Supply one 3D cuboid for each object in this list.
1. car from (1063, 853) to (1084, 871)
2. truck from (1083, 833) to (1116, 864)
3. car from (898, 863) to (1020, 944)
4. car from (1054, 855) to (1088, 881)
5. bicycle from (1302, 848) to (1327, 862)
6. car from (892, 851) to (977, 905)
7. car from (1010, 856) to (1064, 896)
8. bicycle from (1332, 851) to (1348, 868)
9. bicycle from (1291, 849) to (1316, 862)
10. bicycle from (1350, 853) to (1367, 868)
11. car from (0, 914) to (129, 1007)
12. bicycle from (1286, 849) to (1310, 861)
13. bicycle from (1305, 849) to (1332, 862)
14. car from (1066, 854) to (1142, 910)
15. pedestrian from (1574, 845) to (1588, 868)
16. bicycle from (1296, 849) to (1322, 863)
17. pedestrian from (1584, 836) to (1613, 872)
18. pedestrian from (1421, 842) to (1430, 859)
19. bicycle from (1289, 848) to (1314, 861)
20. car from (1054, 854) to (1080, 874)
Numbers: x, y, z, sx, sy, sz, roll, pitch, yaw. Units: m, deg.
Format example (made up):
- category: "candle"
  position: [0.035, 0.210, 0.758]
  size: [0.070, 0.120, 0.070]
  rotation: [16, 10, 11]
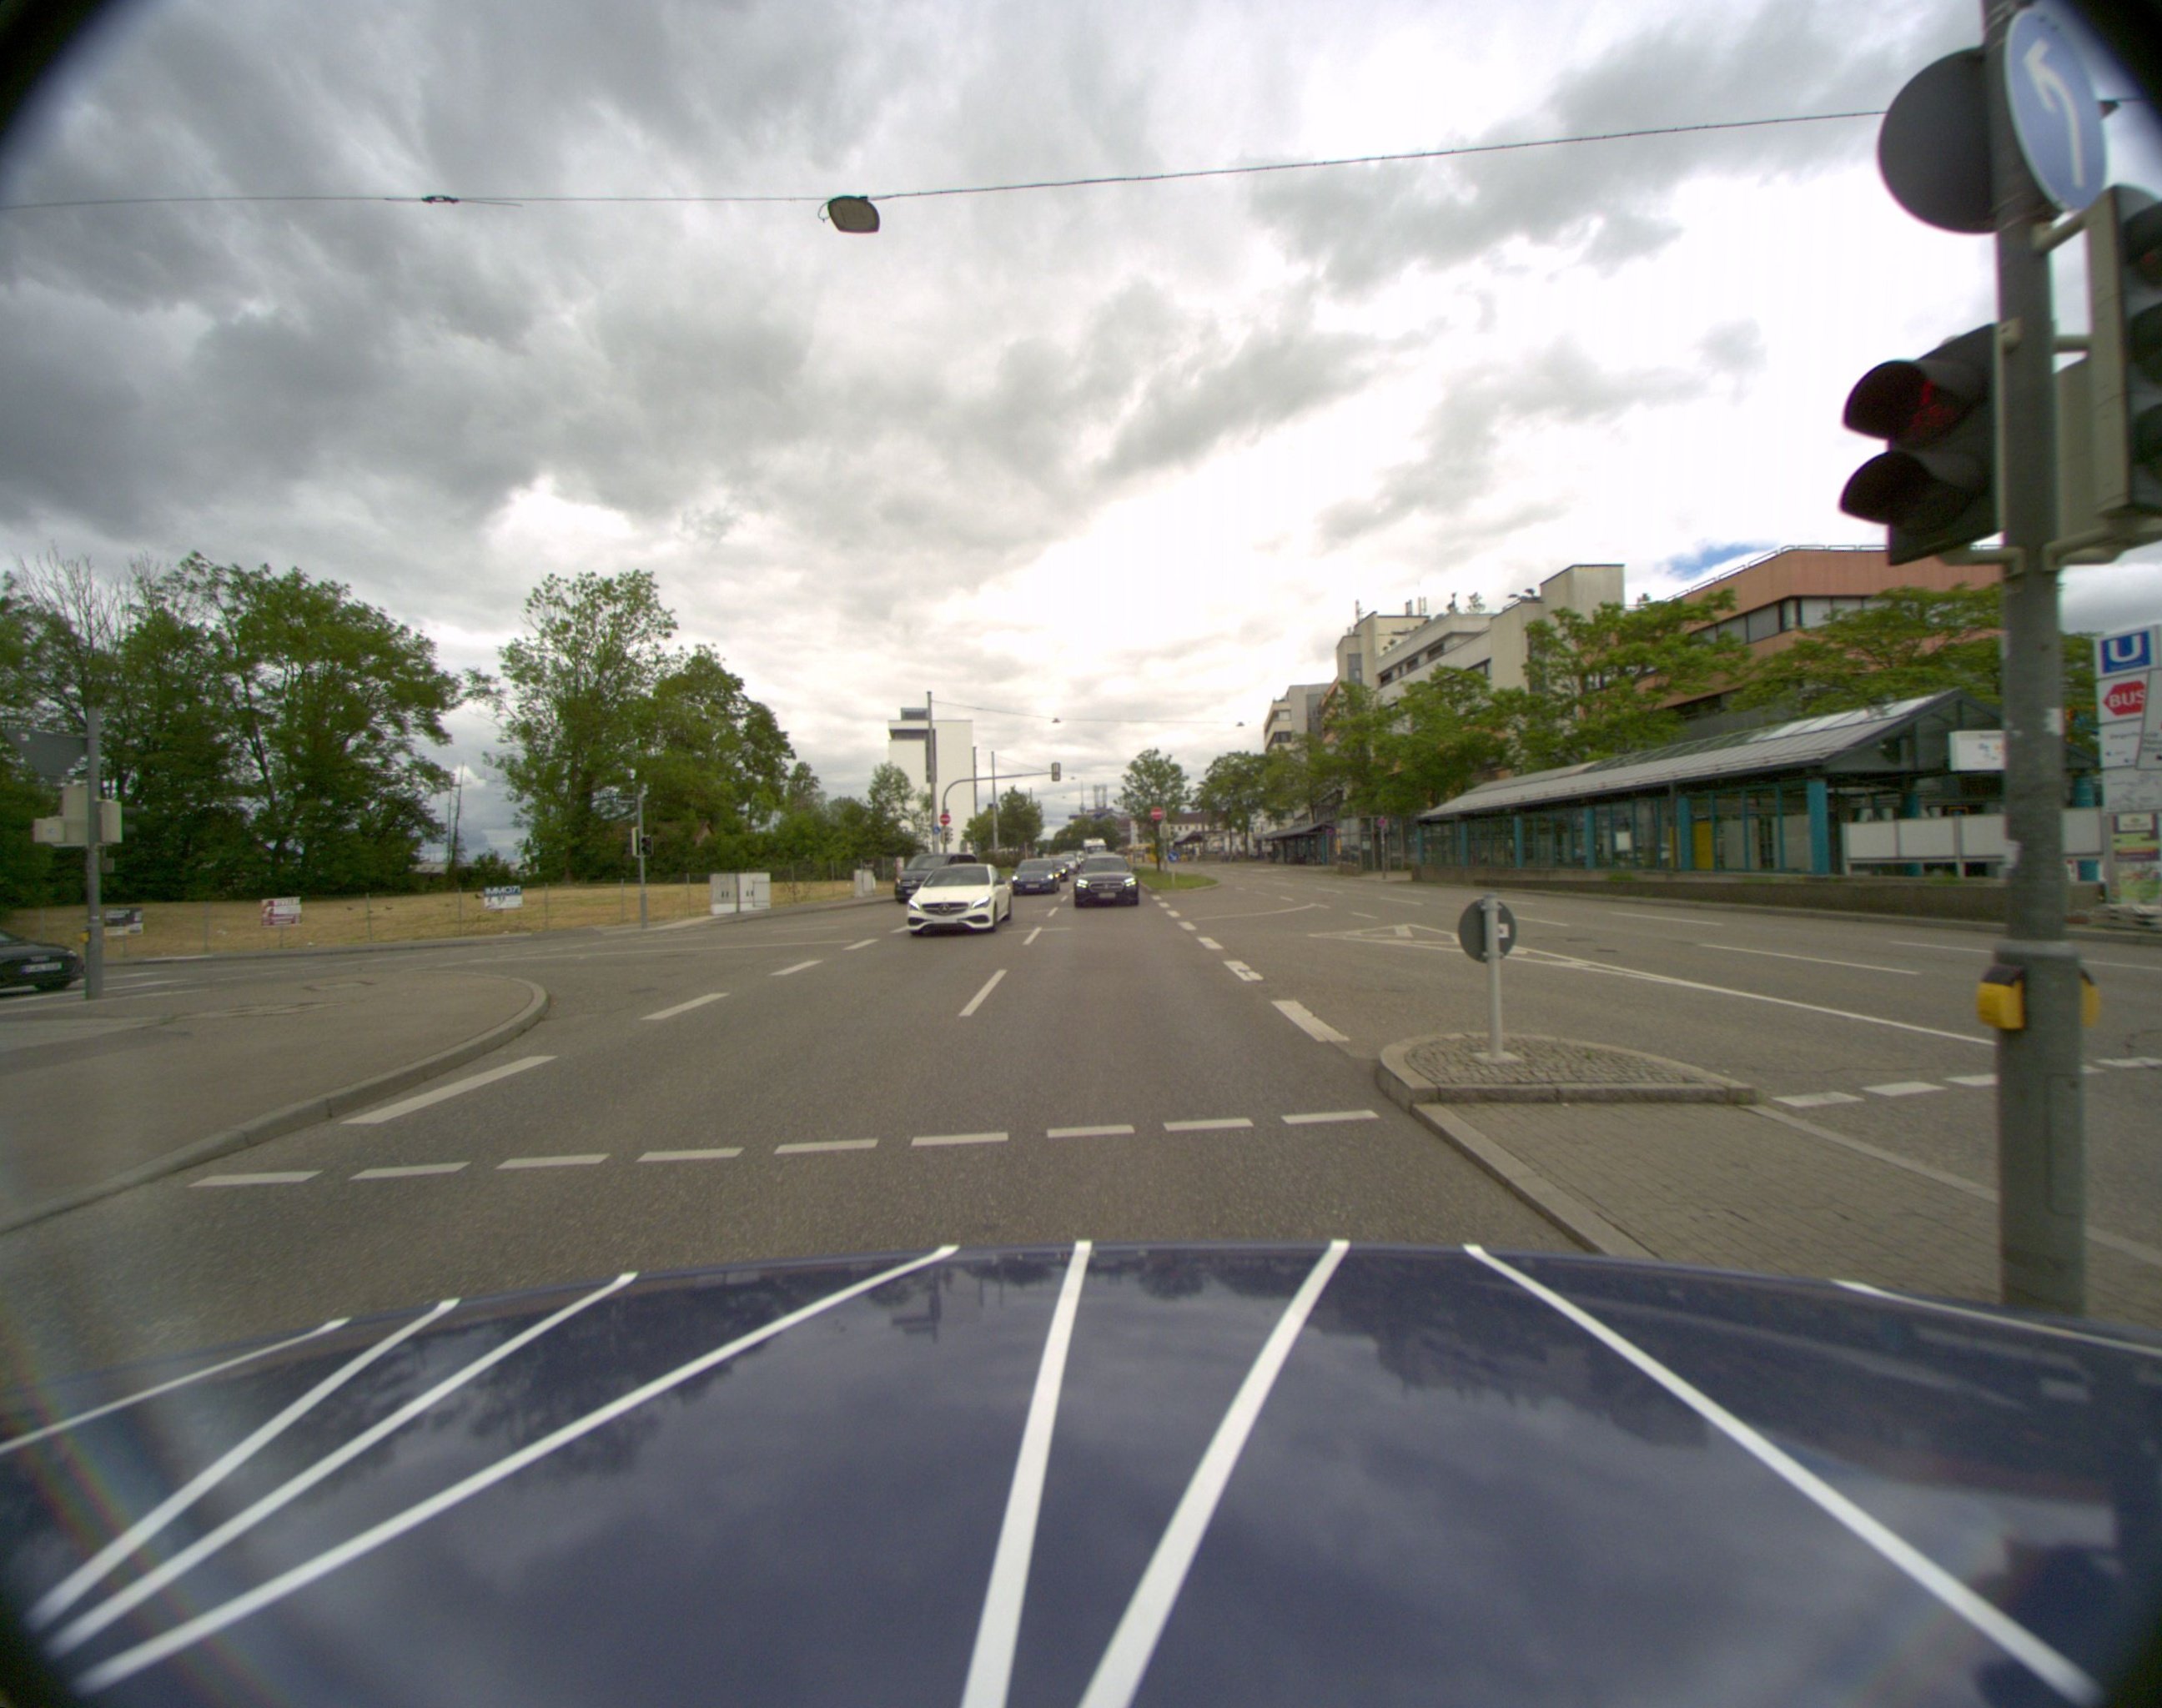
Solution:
- category: "car"
  position: [-0.712, 0.796, 76.233]
  size: [2.020, 1.759, 4.000]
  rotation: [-1, 0, -1]
- category: "truck"
  position: [1.964, -0.581, 84.562]
  size: [3.119, 3.209, 6.522]
  rotation: [-2, 0, -3]
- category: "car"
  position: [-2.579, 0.996, 17.230]
  size: [1.798, 1.464, 4.700]
  rotation: [-1, 0, 2]
- category: "car"
  position: [-0.656, 0.789, 46.112]
  size: [1.769, 1.440, 4.418]
  rotation: [-1, 0, -4]
- category: "bicycle"
  position: [20.591, 0.127, 67.018]
  size: [2.070, 1.132, 0.542]
  rotation: [-3, 1, -4]
- category: "car"
  position: [-5.607, 0.873, 29.694]
  size: [2.014, 1.877, 4.876]
  rotation: [-1, 0, 4]
- category: "car"
  position: [-1.796, 0.890, 32.150]
  size: [1.798, 1.464, 4.311]
  rotation: [-3, 0, 2]
- category: "bicycle"
  position: [18.777, 0.389, 55.154]
  size: [0.521, 1.217, 1.949]
  rotation: [-3, 0, 2]
- category: "bicycle"
  position: [20.282, 0.103, 69.361]
  size: [2.069, 1.084, 0.542]
  rotation: [-3, 1, 1]
- category: "bicycle"
  position: [20.168, 0.444, 55.212]
  size: [0.521, 1.021, 2.051]
  rotation: [-3, 0, 2]
- category: "car"
  position: [-20.320, 1.954, 13.507]
  size: [4.353, 1.413, 1.908]
  rotation: [-3, 1, 1]
- category: "bicycle"
  position: [20.360, 0.105, 71.338]
  size: [2.069, 1.084, 0.542]
  rotation: [-3, 1, 1]
- category: "bicycle"
  position: [20.660, 0.139, 66.152]
  size: [2.206, 1.084, 0.542]
  rotation: [-3, 1, -4]
- category: "car"
  position: [0.773, 0.782, 23.480]
  size: [2.058, 1.477, 4.974]
  rotation: [-2, 0, 3]
- category: "pedestrian"
  position: [26.187, 0.119, 39.814]
  size: [0.382, 1.185, 0.514]
  rotation: [-1, 1, 3]
- category: "bicycle"
  position: [20.430, 0.168, 68.116]
  size: [2.070, 1.084, 0.542]
  rotation: [-3, 1, -4]
- category: "pedestrian"
  position: [24.411, -0.022, 35.844]
  size: [0.779, 1.670, 0.827]
  rotation: [-1, 1, 3]
- category: "pedestrian"
  position: [28.693, -0.269, 63.254]
  size: [0.462, 1.424, 0.580]
  rotation: [-1, 1, 2]
- category: "bicycle"
  position: [20.423, 0.024, 70.420]
  size: [2.069, 1.132, 0.542]
  rotation: [-3, 1, 1]
- category: "car"
  position: [-1.108, 0.792, 61.341]
  size: [1.798, 1.464, 4.311]
  rotation: [-1, 0, 2]
